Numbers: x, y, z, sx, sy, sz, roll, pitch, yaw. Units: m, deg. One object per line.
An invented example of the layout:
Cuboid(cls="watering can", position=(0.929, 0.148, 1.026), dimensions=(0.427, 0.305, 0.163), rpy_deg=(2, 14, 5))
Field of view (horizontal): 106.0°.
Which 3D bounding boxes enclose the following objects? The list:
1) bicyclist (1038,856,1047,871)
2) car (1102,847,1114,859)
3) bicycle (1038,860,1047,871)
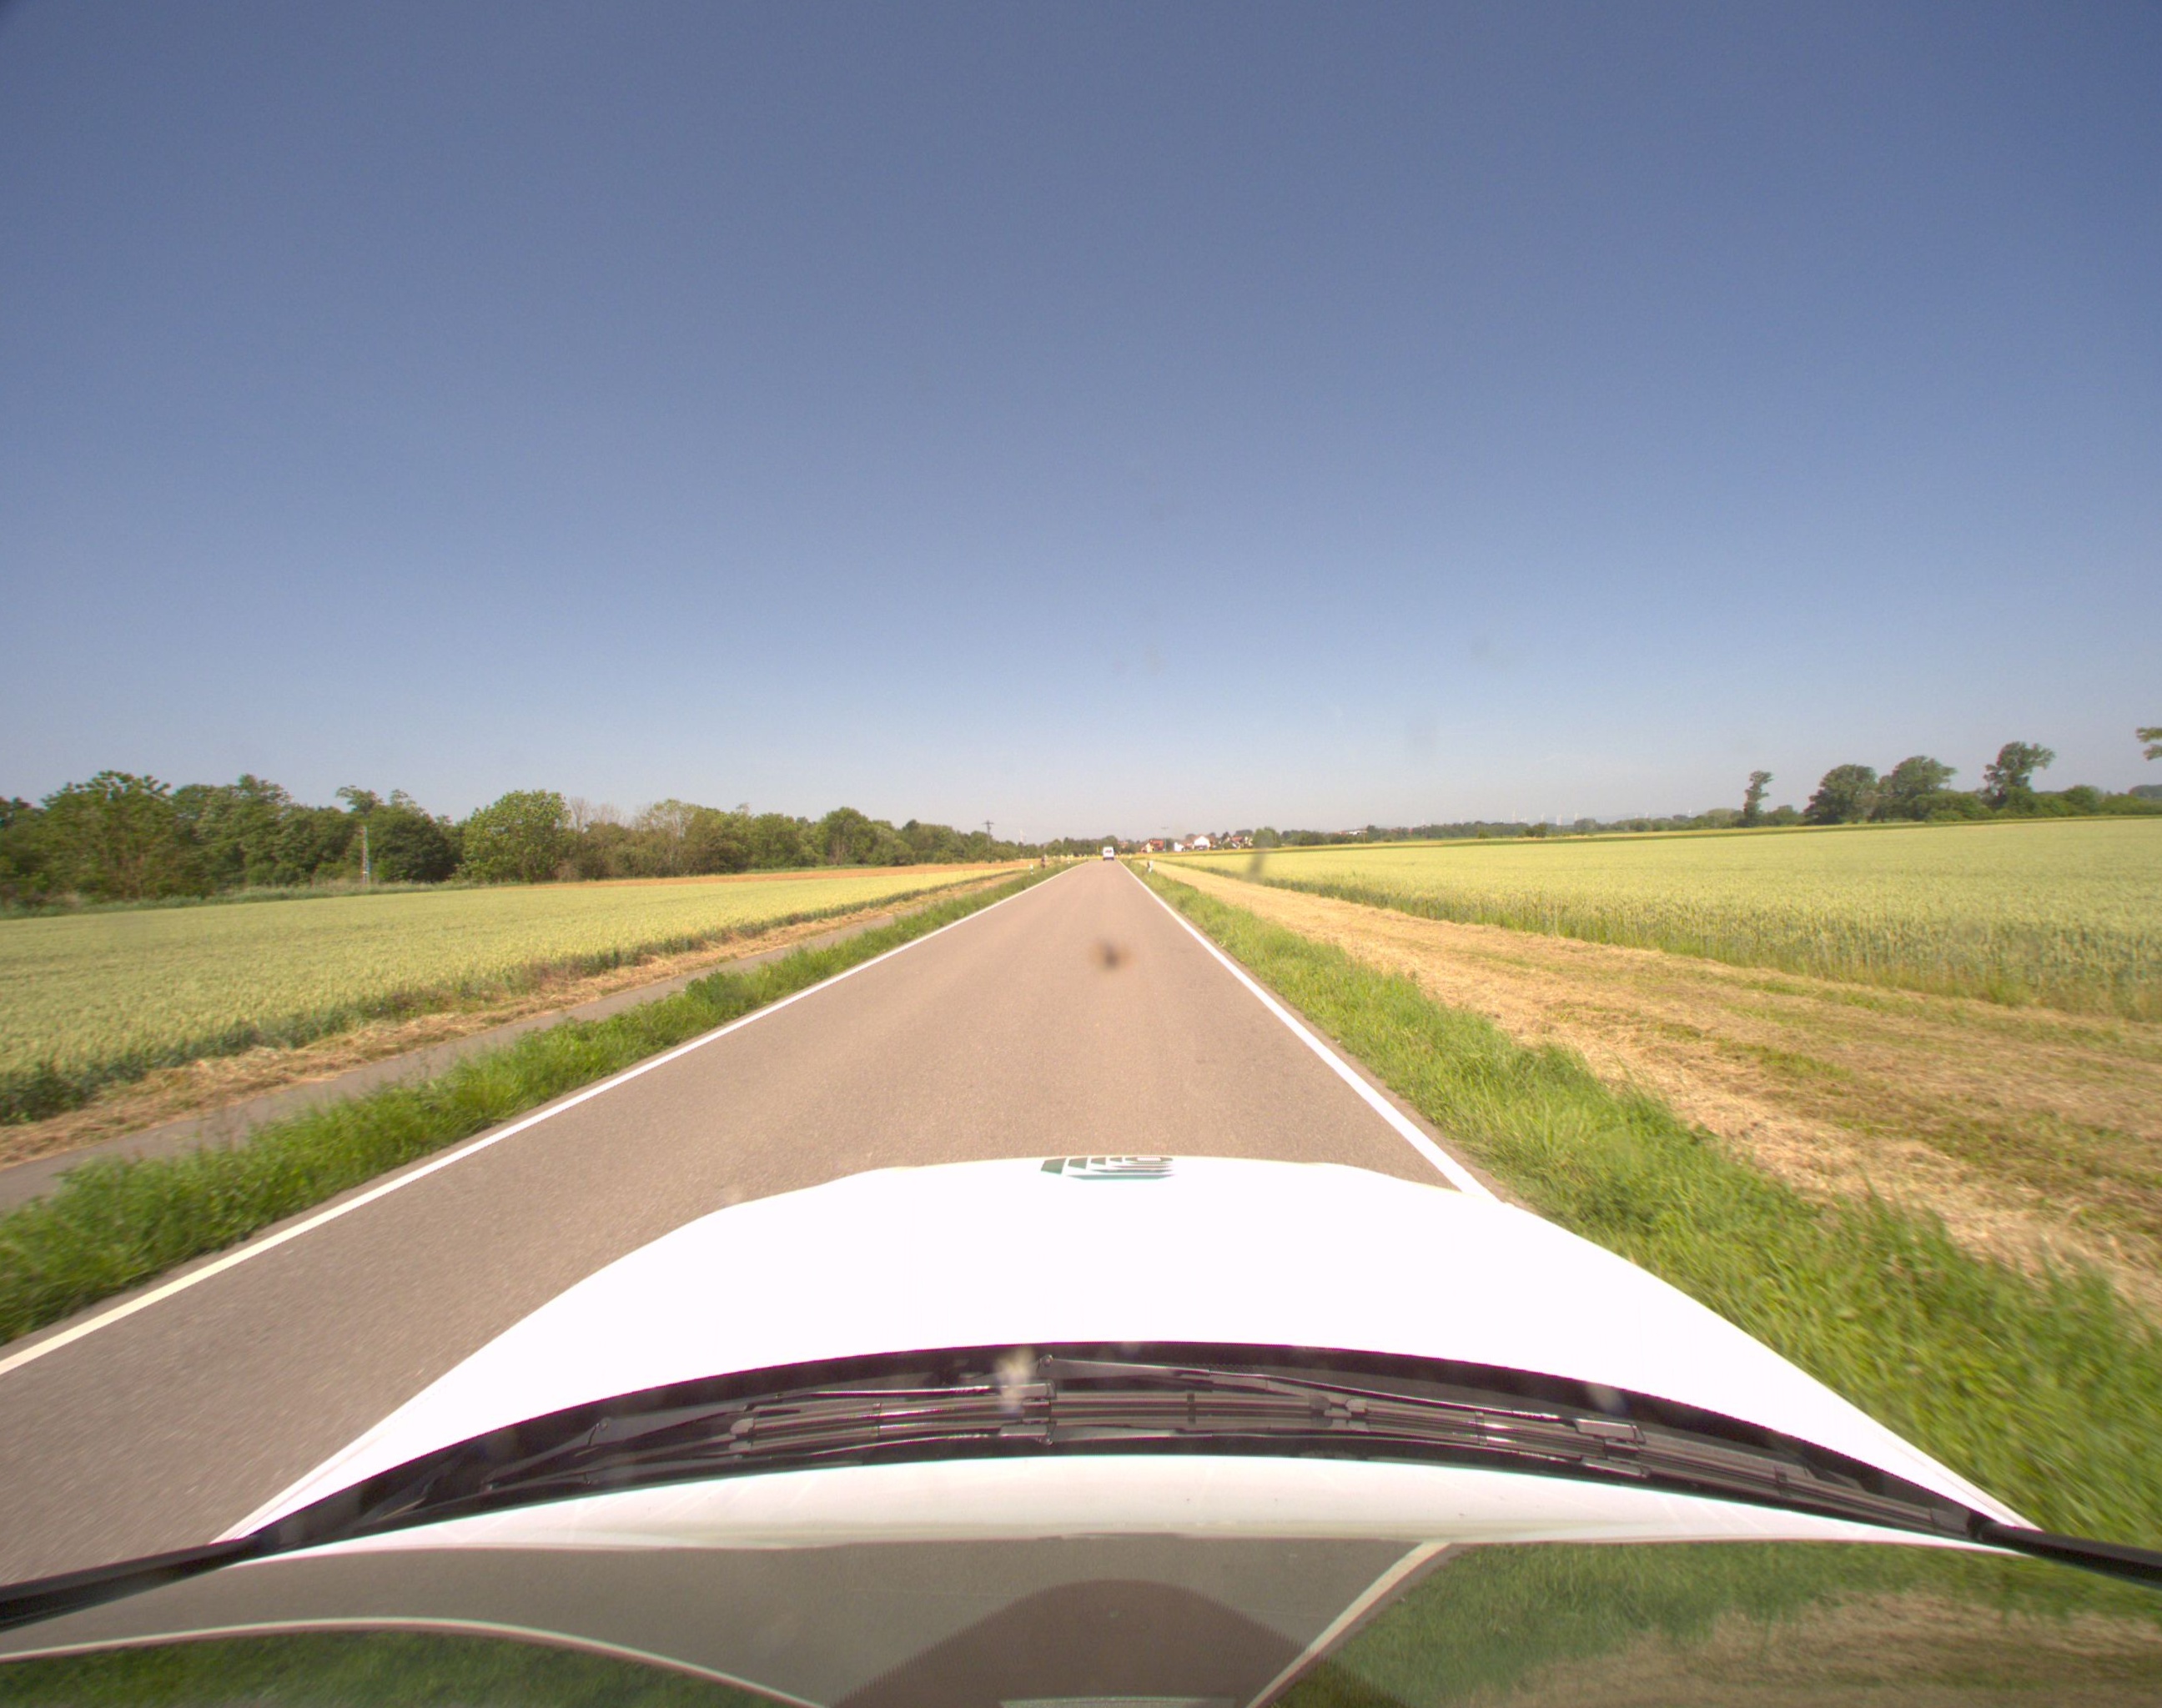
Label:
Cuboid(cls="bicyclist", position=(-4.365, 1.037, 92.424), dimensions=(0.757, 1.672, 1.089), rpy_deg=(-4, 0, 2))
Cuboid(cls="car", position=(5.176, -0.189, 156.470), dimensions=(2.099, 2.304, 5.497), rpy_deg=(0, 0, 2))
Cuboid(cls="bicycle", position=(-4.363, 1.283, 92.436), dimensions=(0.756, 1.236, 2.395), rpy_deg=(-4, 0, 2))
